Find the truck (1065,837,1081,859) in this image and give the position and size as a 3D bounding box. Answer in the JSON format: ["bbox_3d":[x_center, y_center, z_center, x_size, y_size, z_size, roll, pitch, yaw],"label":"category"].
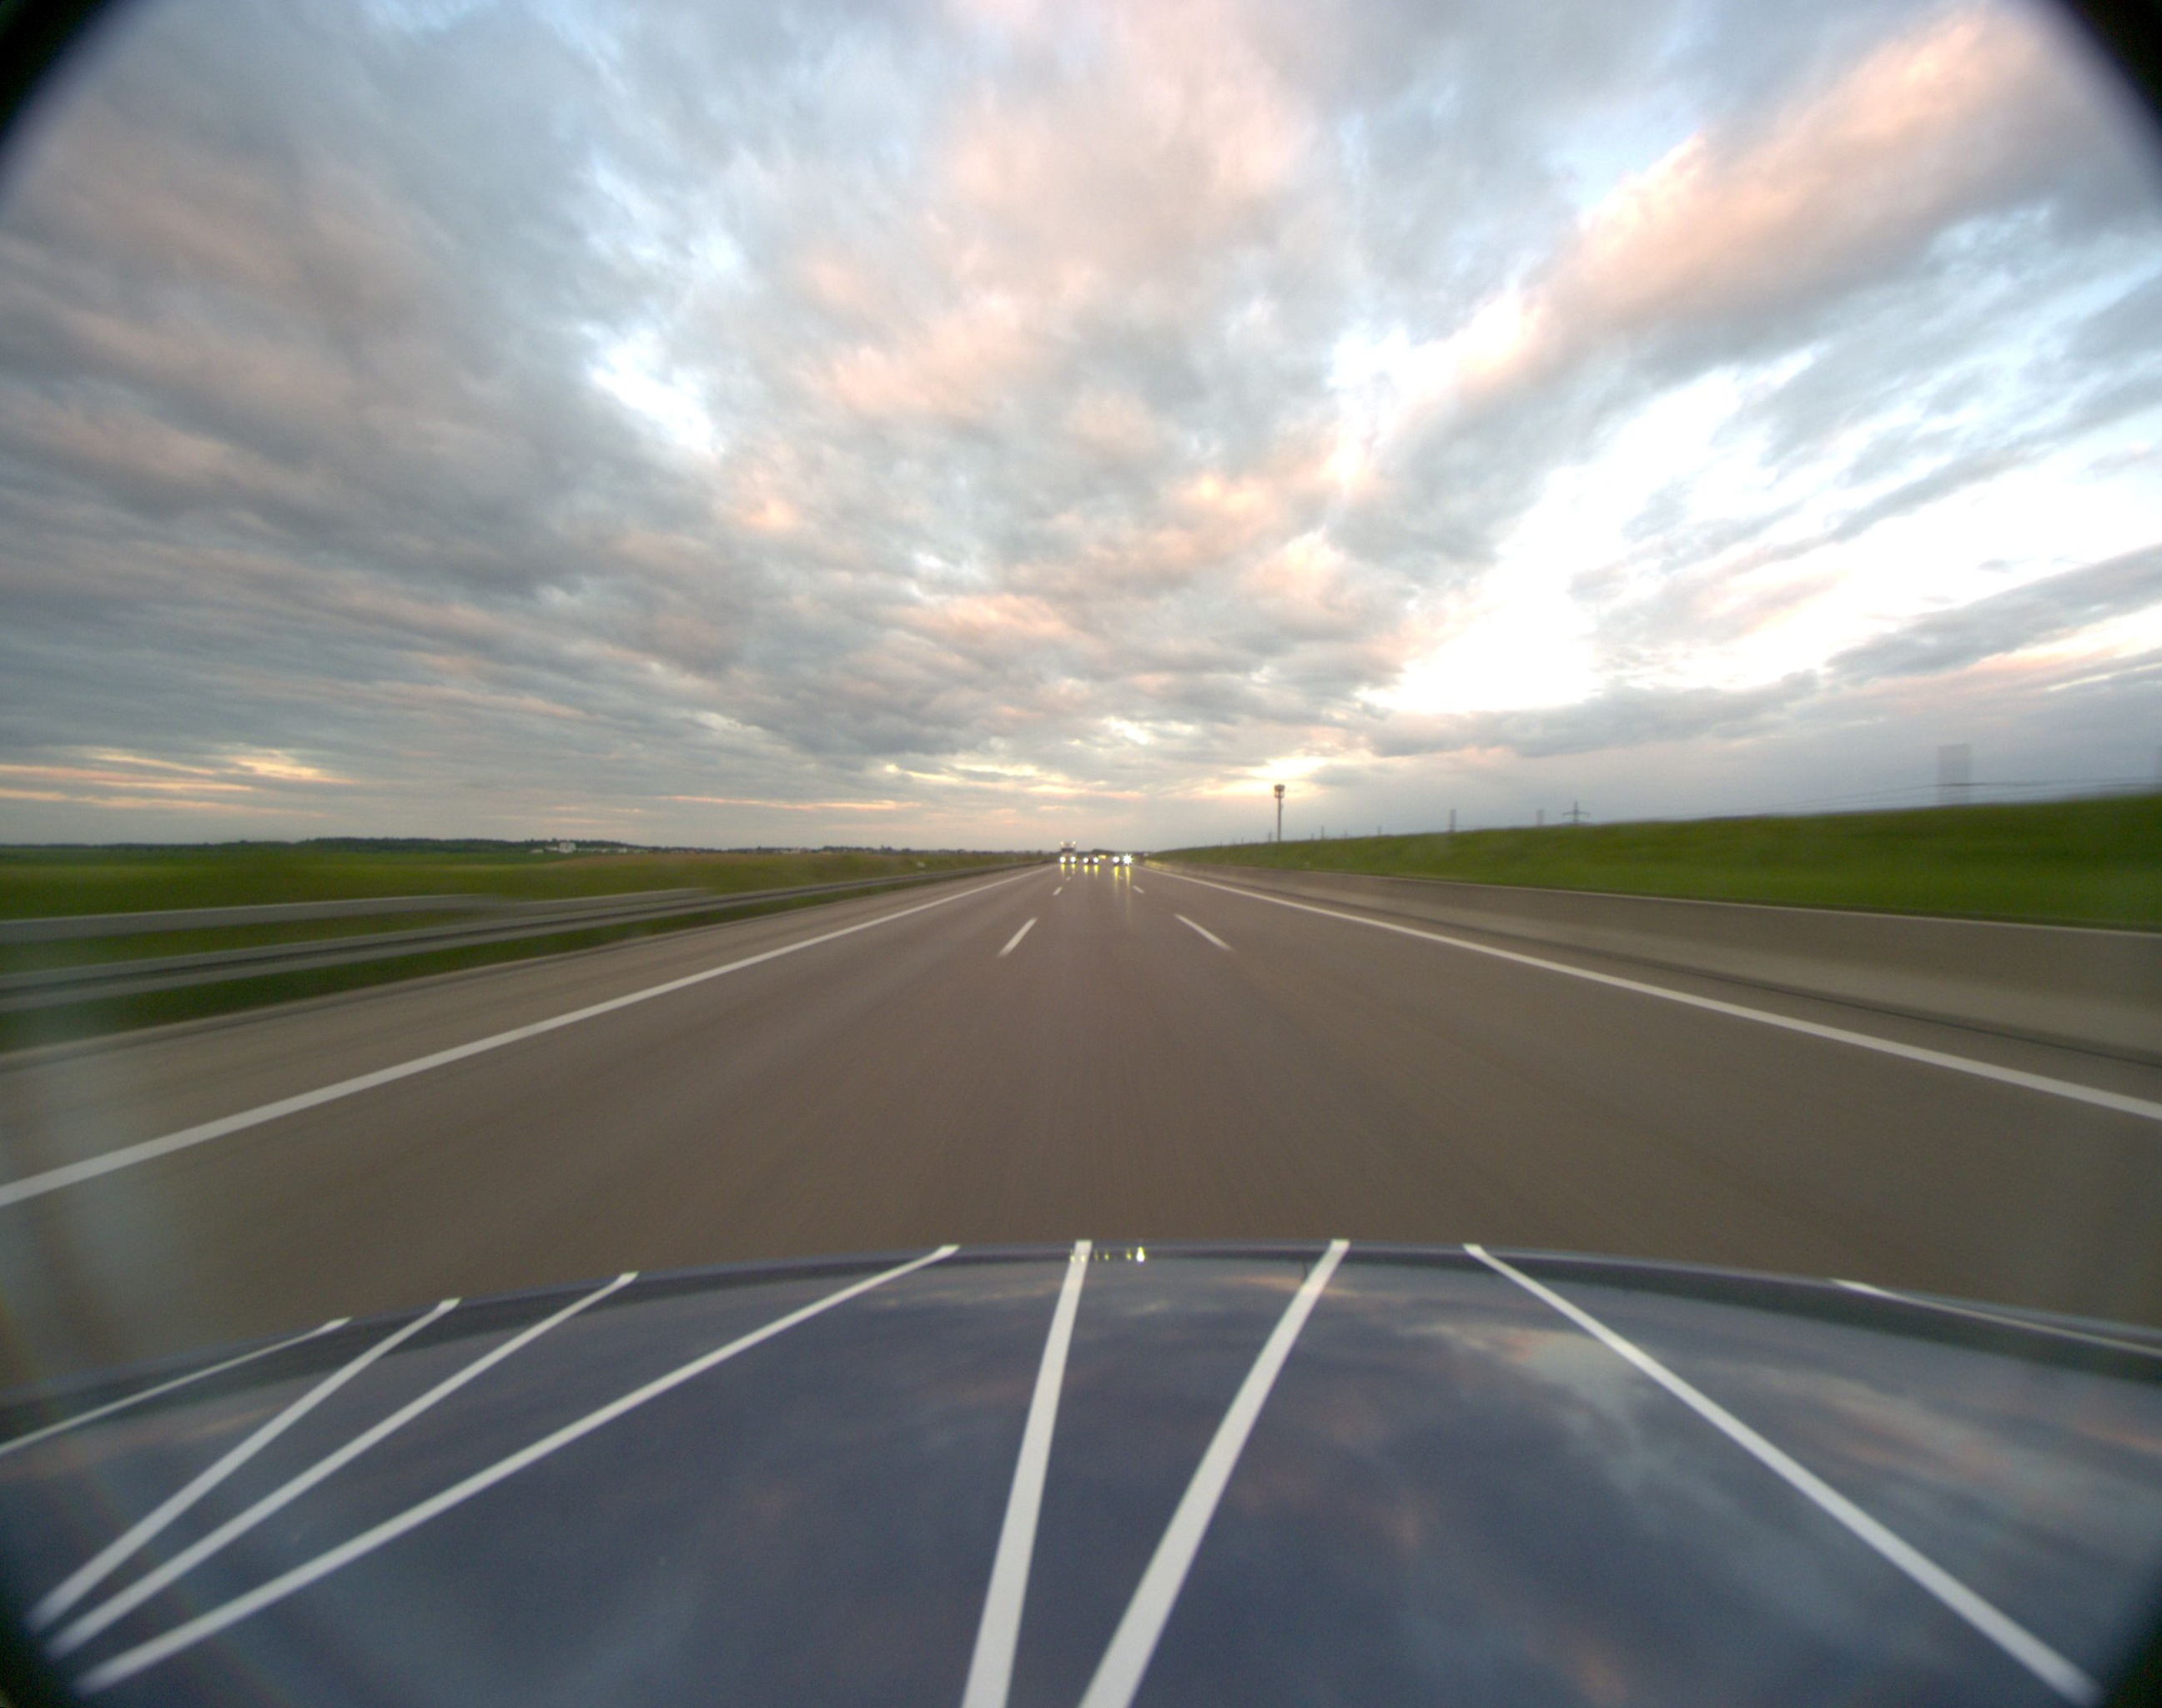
[{"bbox_3d":[-1.530,-1.146,151.309,2.596,3.999,12.987,-1,0,2],"label":"truck"}]

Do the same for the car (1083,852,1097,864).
[{"bbox_3d":[1.457,0.573,117.650,1.998,1.652,4.851,-2,1,1],"label":"car"}]

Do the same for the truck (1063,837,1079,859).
[{"bbox_3d":[-1.842,-1.080,144.852,2.596,3.999,5.860,-1,0,2],"label":"truck"}]

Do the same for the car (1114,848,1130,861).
[{"bbox_3d":[5.516,0.069,102.330,1.998,1.652,4.000,-2,1,1],"label":"car"}]
